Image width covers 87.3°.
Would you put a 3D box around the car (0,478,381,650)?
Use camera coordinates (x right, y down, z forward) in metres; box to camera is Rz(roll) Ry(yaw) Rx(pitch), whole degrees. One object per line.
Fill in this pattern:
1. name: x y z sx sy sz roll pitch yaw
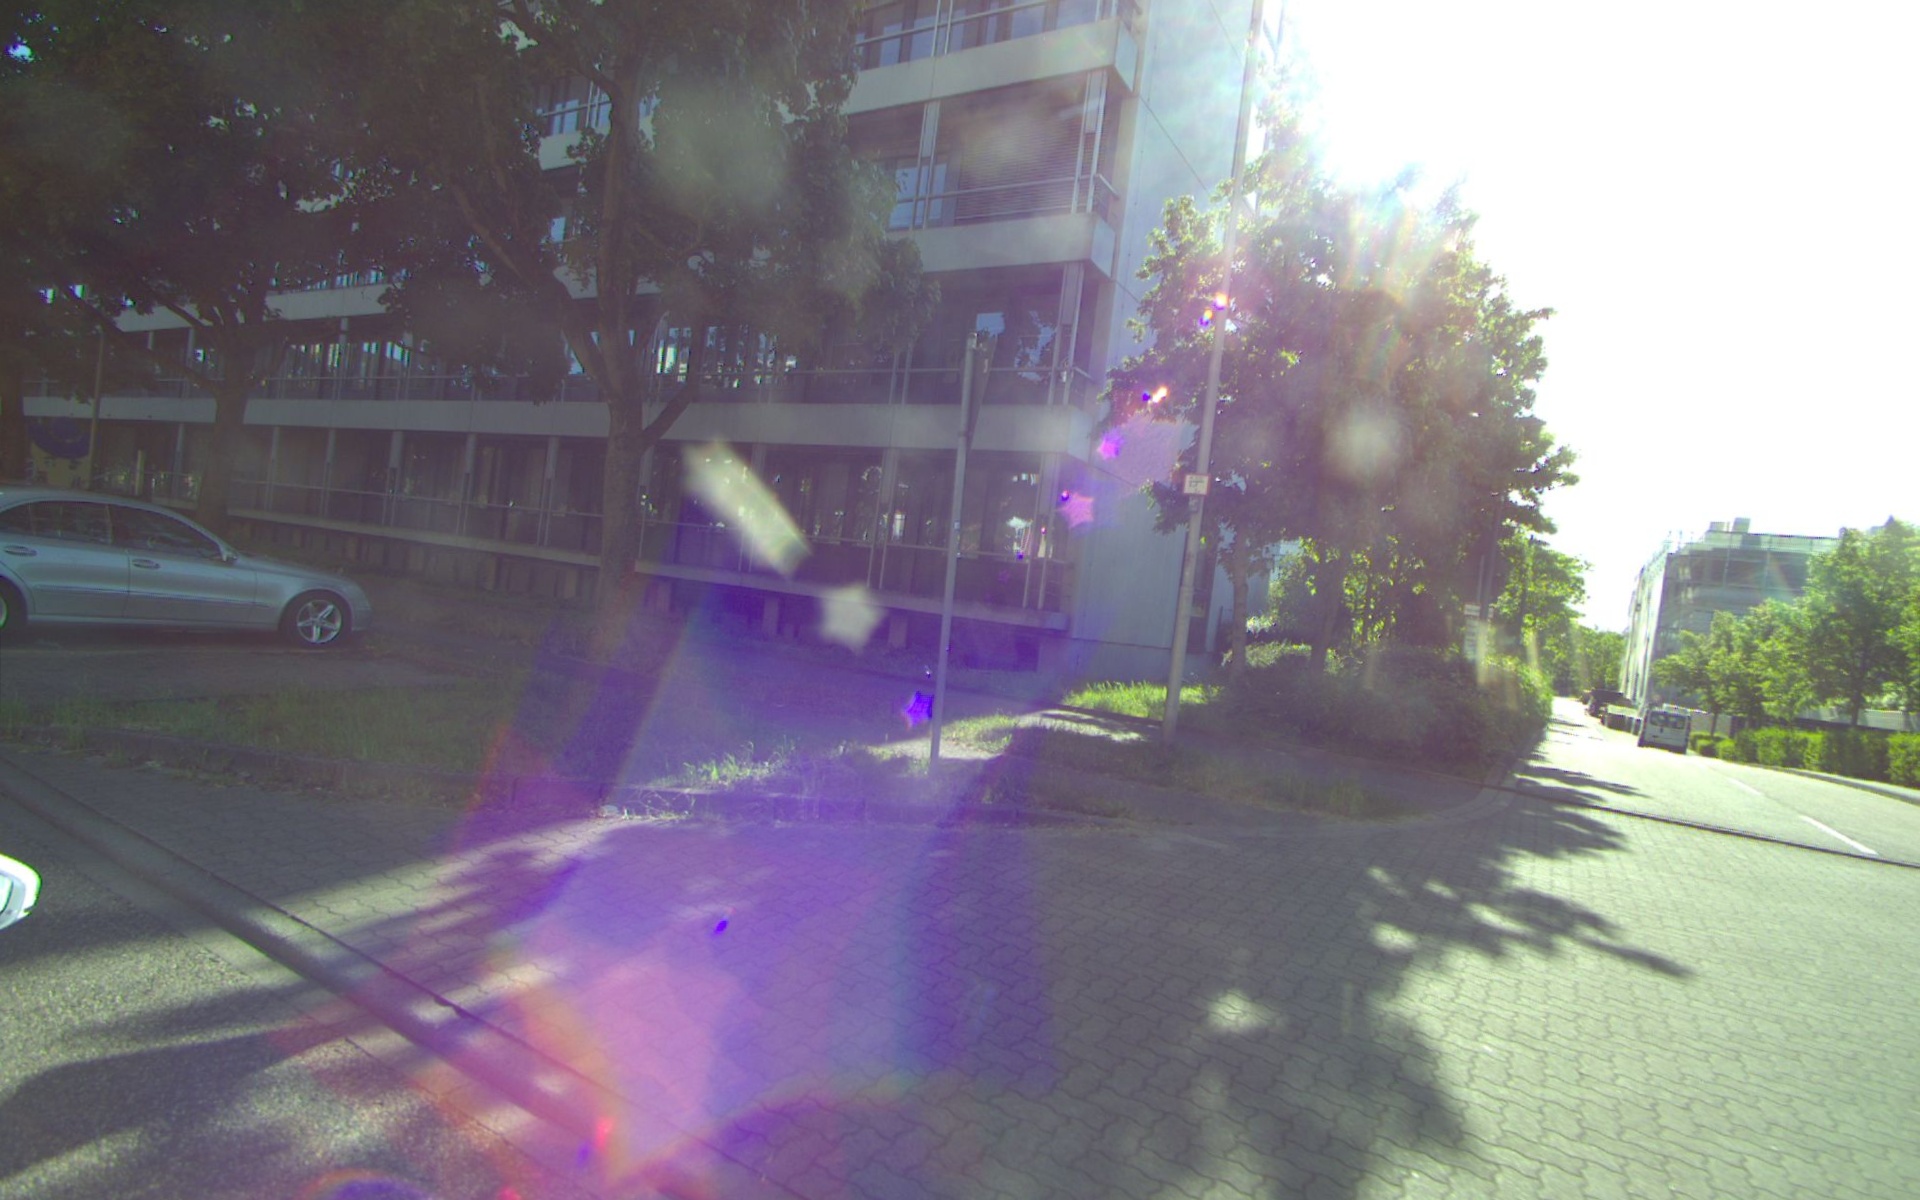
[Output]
1. car: -8.657 -0.359 10.118 1.718 1.495 4.579 7 2 32

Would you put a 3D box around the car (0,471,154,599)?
1. car: -13.406 -0.989 12.810 1.891 1.562 4.513 7 2 35

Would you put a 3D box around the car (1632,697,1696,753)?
1. car: 33.157 5.853 47.486 1.893 2.135 3.993 7 0 30

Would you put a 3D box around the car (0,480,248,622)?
1. car: -11.013 -0.635 11.837 1.891 1.466 3.836 7 2 35

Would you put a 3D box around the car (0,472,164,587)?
1. car: -14.898 -1.191 14.856 1.891 1.562 4.514 7 2 34
